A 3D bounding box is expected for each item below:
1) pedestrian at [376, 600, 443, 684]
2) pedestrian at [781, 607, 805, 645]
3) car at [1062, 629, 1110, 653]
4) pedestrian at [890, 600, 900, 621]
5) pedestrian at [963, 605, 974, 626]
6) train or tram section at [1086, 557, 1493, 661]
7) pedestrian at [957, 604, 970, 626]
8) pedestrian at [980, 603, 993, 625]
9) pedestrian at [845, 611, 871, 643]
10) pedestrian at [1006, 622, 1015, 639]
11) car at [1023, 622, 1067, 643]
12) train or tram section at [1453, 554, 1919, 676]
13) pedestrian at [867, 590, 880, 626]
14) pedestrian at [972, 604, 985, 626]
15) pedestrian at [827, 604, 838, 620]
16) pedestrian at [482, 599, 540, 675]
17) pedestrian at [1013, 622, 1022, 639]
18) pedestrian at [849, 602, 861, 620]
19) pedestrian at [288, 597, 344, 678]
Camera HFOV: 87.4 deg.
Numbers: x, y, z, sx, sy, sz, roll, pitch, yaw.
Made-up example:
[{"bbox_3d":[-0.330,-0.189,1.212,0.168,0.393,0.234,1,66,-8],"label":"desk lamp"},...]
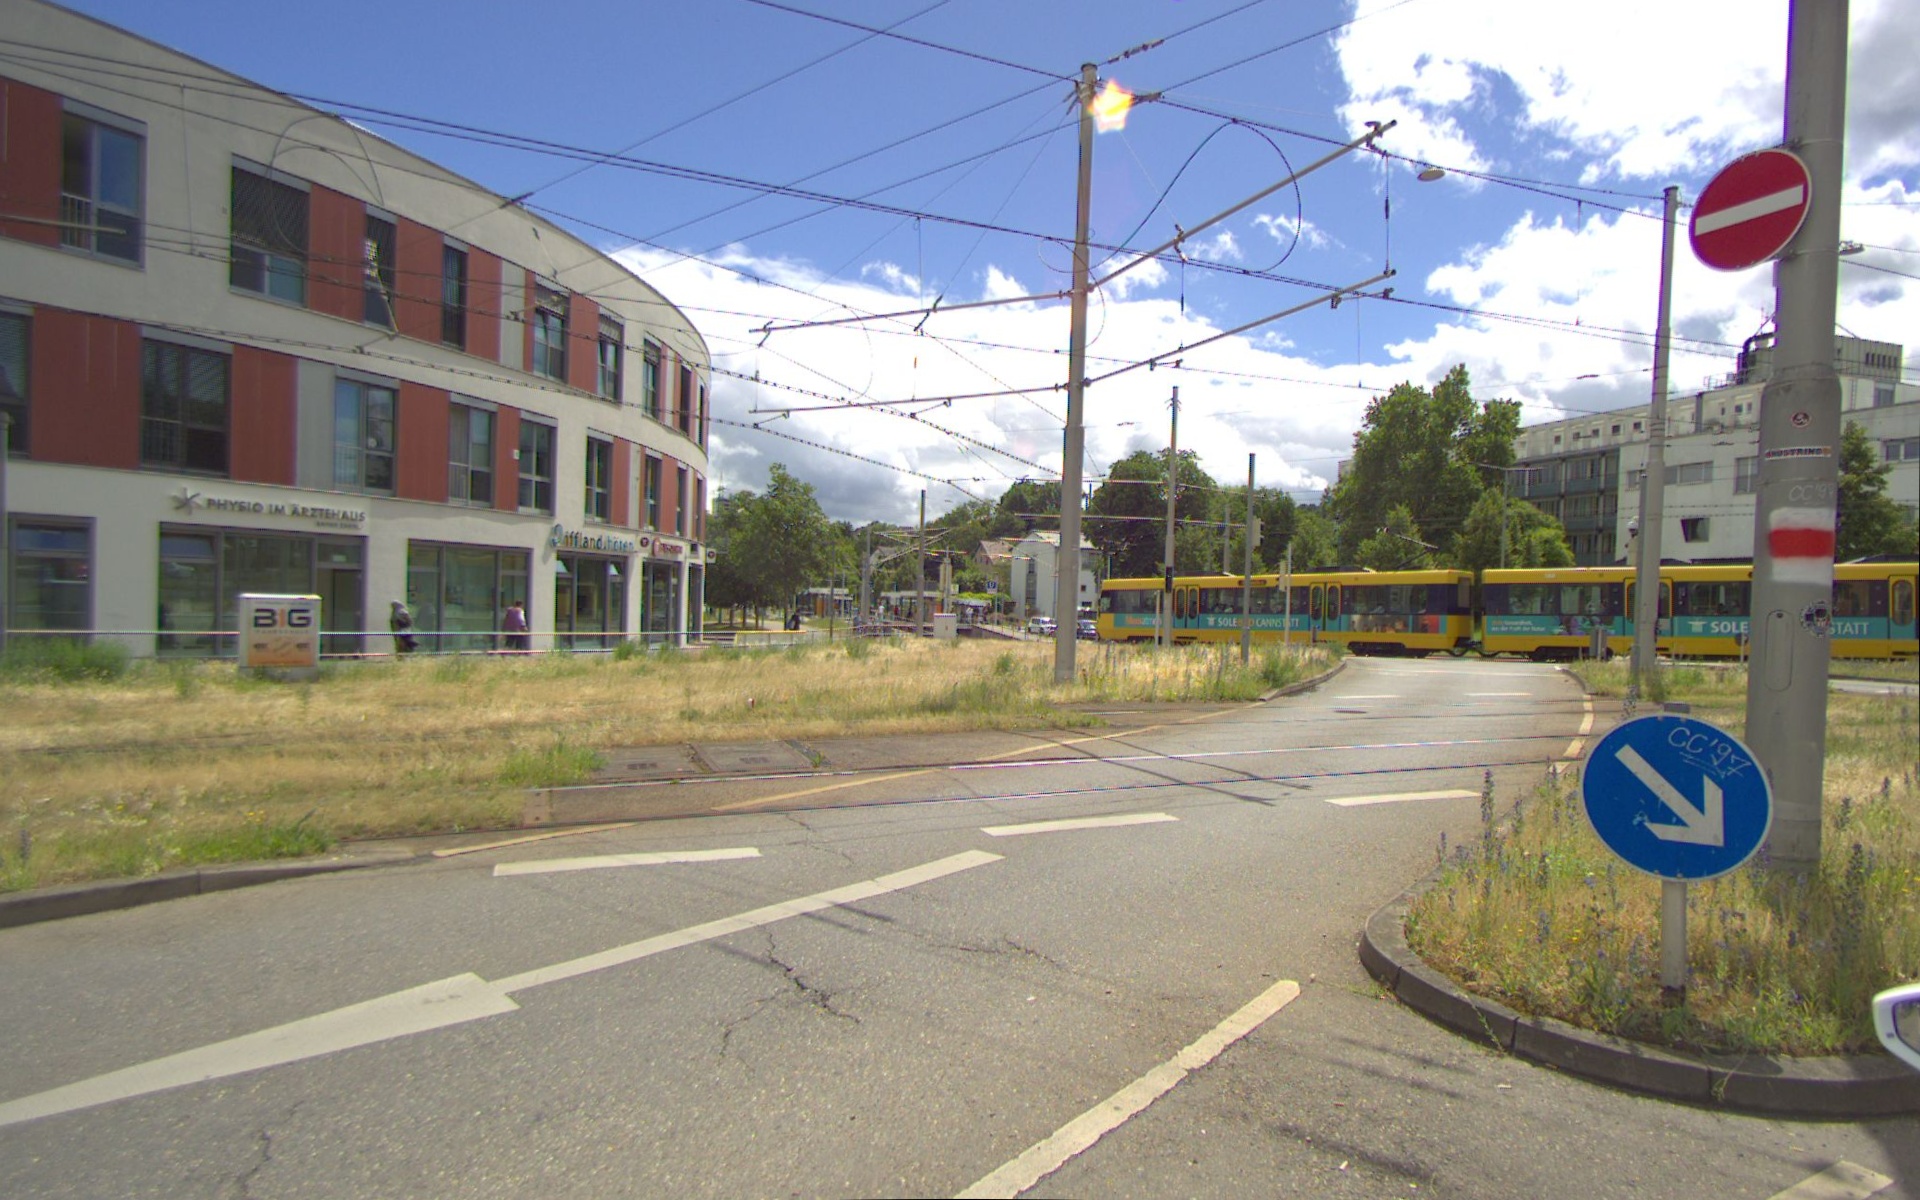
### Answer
[{"bbox_3d":[-13.526,1.016,24.688,0.849,1.994,1.114,1,-1,29],"label":"pedestrian"},{"bbox_3d":[-7.469,1.162,44.964,0.847,1.646,0.733,1,-1,7],"label":"pedestrian"},{"bbox_3d":[9.270,2.997,74.043,1.889,1.672,4.238,2,-2,-18],"label":"car"},{"bbox_3d":[-6.604,1.074,101.822,0.807,2.040,0.771,2,-1,-15],"label":"pedestrian"},{"bbox_3d":[0.723,1.271,82.493,0.744,1.707,0.671,1,0,-16],"label":"pedestrian"},{"bbox_3d":[14.126,0.463,46.628,3.733,3.970,18.669,3,-2,-41],"label":"train or tram section"},{"bbox_3d":[0.304,1.205,81.762,0.824,1.777,0.795,1,0,-16],"label":"pedestrian"},{"bbox_3d":[2.086,1.122,79.681,0.824,1.714,0.616,1,0,-16],"label":"pedestrian"},{"bbox_3d":[-5.334,1.427,52.560,1.016,1.646,0.984,1,-1,22],"label":"pedestrian"},{"bbox_3d":[5.731,3.443,114.547,0.818,1.891,0.817,1,0,-16],"label":"pedestrian"},{"bbox_3d":[6.792,2.592,80.364,1.908,1.575,4.474,2,-2,-18],"label":"car"},{"bbox_3d":[28.328,0.513,35.194,19.778,3.880,3.757,1,-2,28],"label":"train or tram section"},{"bbox_3d":[-14.942,1.379,173.217,1.964,5.998,2.368,2,-1,-9],"label":"pedestrian"},{"bbox_3d":[1.478,1.226,81.052,0.824,1.755,0.795,1,0,-16],"label":"pedestrian"},{"bbox_3d":[-16.844,1.563,132.504,1.241,2.040,1.121,2,-1,-19],"label":"pedestrian"},{"bbox_3d":[-12.114,0.995,27.135,0.849,1.994,1.104,1,-1,30],"label":"pedestrian"},{"bbox_3d":[6.557,3.476,114.988,0.818,1.891,0.817,1,0,-16],"label":"pedestrian"},{"bbox_3d":[-12.518,1.316,119.541,1.241,2.040,1.121,2,-1,-19],"label":"pedestrian"},{"bbox_3d":[-13.128,0.747,20.477,0.722,1.601,0.690,0,-1,30],"label":"pedestrian"}]
